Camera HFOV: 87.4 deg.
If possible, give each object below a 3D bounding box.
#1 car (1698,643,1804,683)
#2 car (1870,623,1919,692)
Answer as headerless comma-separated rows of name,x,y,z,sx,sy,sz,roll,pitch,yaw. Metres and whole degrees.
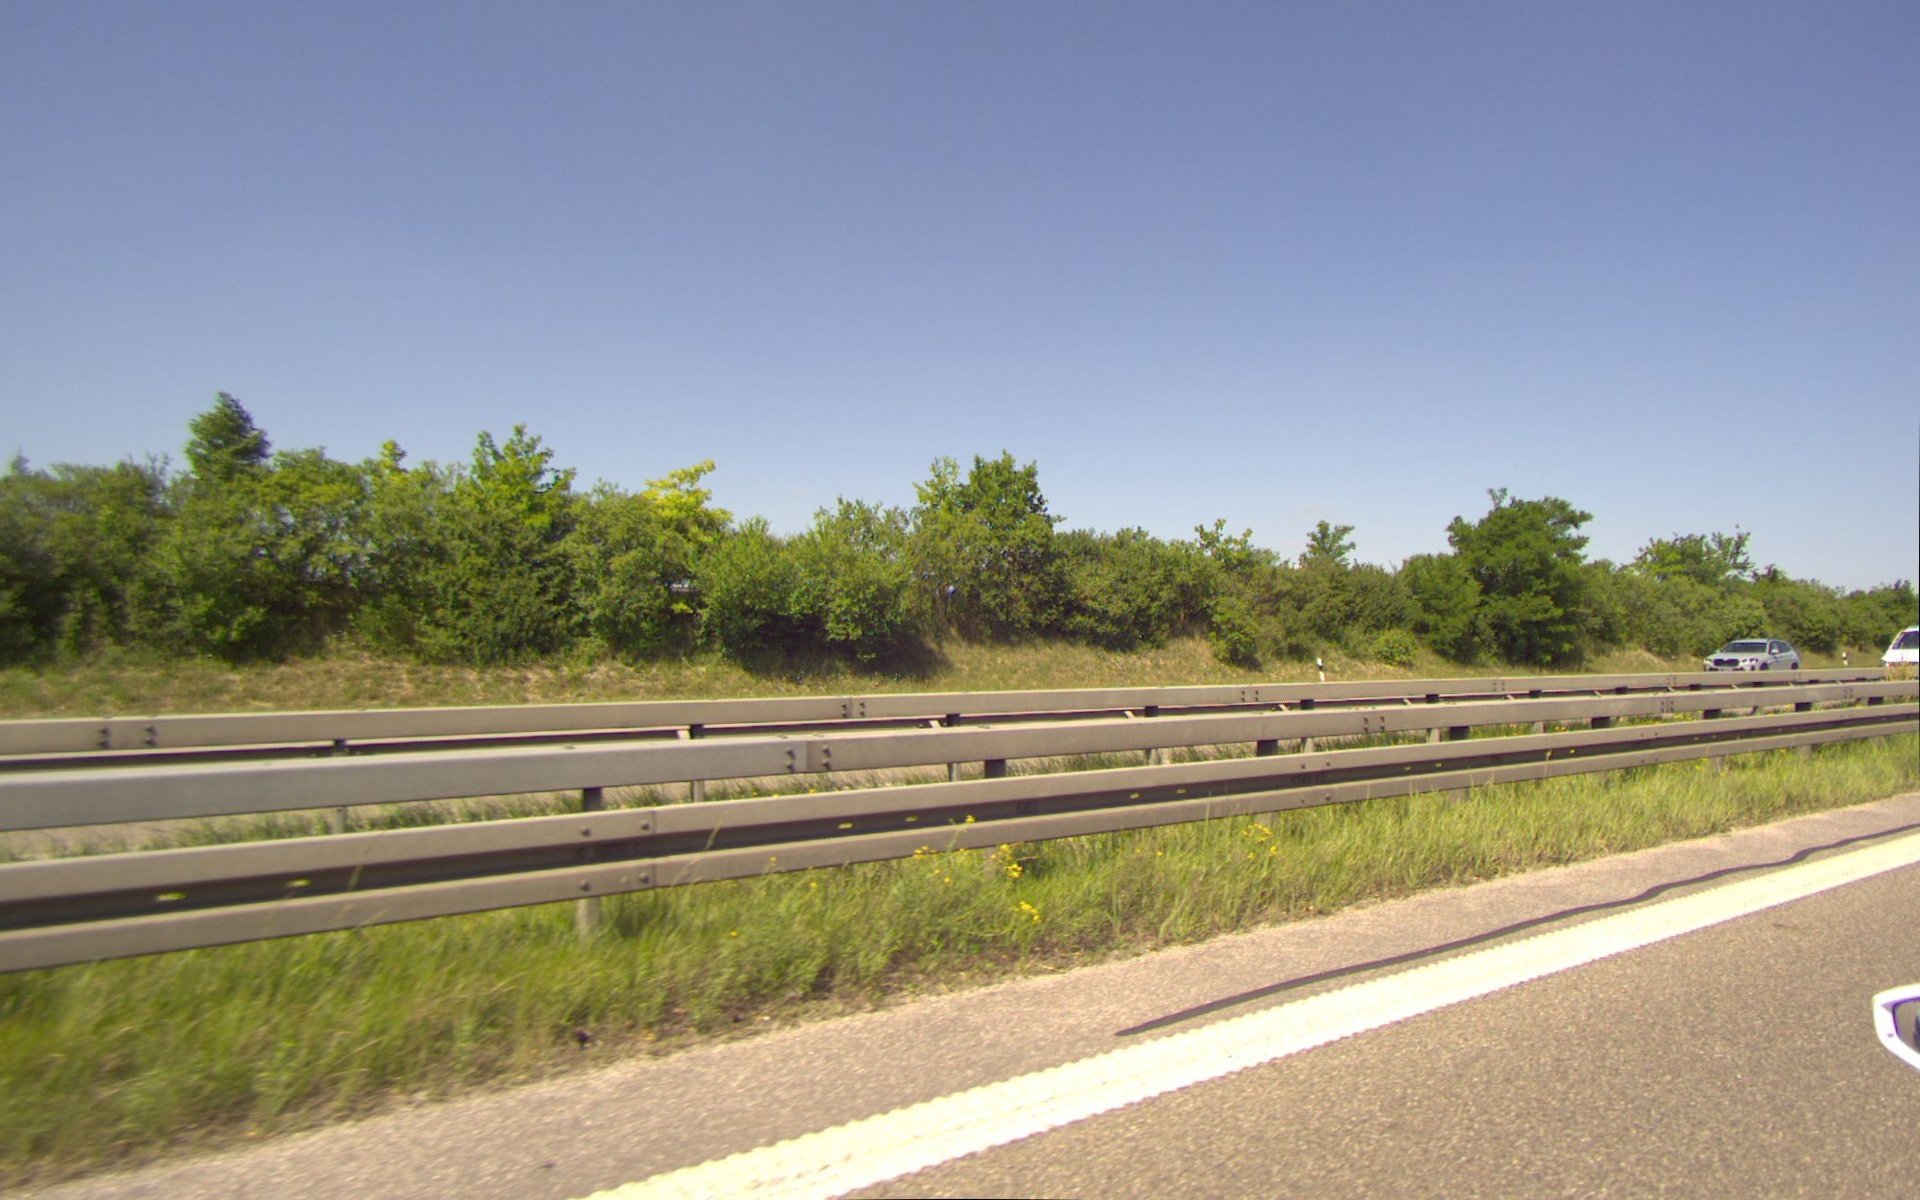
car,31.193,2.442,39.584,4.468,1.458,1.779,1,-1,-31
car,29.080,1.675,29.610,5.455,1.897,1.910,1,-1,-32
